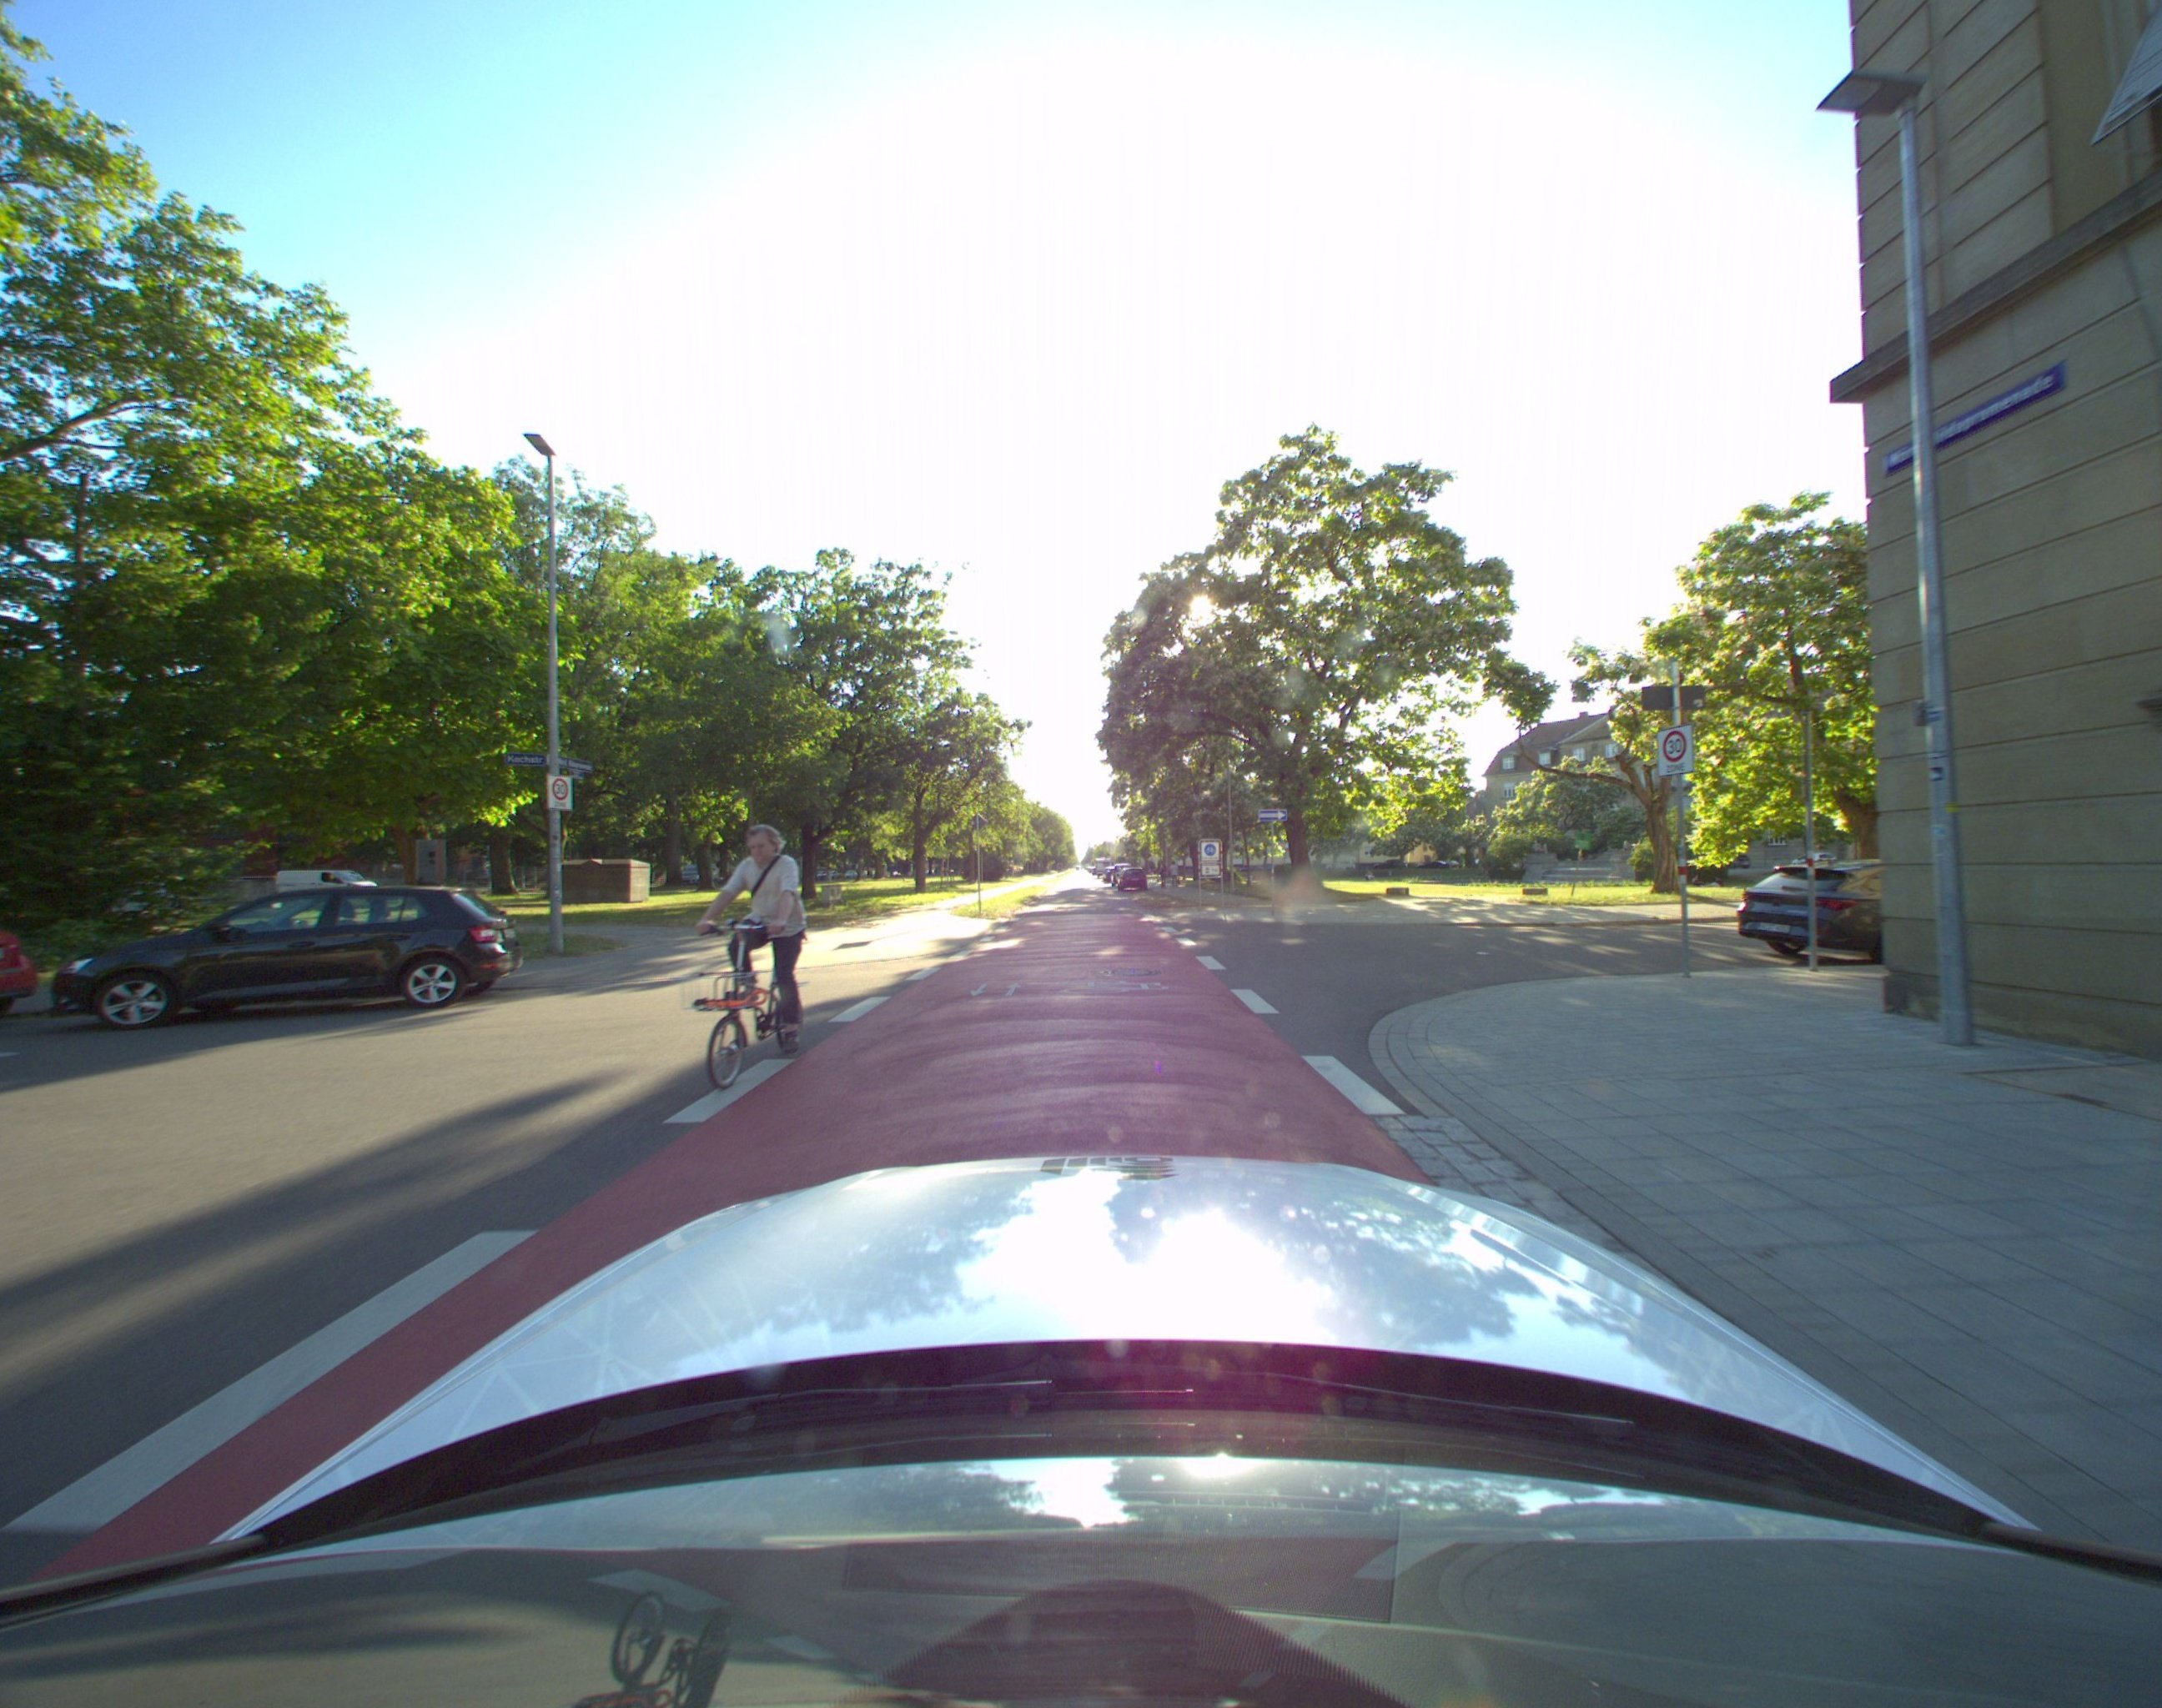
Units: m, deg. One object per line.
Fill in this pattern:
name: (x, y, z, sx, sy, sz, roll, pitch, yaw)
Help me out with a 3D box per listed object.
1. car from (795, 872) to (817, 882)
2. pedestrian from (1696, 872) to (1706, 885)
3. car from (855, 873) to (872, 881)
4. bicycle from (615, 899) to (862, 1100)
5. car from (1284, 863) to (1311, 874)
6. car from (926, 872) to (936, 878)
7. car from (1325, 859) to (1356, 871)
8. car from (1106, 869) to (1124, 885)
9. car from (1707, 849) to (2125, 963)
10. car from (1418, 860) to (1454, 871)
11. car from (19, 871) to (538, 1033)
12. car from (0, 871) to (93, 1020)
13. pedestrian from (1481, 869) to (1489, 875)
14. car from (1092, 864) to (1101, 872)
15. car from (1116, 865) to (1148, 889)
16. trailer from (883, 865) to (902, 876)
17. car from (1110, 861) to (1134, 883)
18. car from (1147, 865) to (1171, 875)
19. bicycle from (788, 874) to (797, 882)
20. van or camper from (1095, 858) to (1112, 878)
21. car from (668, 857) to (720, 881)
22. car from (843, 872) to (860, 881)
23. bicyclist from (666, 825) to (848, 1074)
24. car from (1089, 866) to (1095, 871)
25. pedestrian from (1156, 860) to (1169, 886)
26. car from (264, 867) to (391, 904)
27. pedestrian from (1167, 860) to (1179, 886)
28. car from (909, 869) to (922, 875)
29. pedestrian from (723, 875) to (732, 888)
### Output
car: (-42.198, 3.473, 124.959, 1.987, 1.508, 4.000, -1, -1, 1)
pedestrian: (42.687, 1.652, 56.064, 0.571, 0.881, 0.681, -1, -2, 37)
car: (-41.485, 4.441, 155.587, 1.987, 1.508, 4.115, -1, -1, 1)
bicycle: (-2.380, 0.942, 6.026, 0.734, 1.135, 2.108, -1, -1, 6)
car: (34.545, 2.345, 129.881, 3.949, 1.552, 1.620, -2, -2, 27)
car: (-41.522, 5.729, 225.183, 1.987, 1.508, 4.115, -1, -1, 1)
car: (42.193, 1.801, 132.342, 4.467, 1.746, 1.892, -2, -2, 35)
car: (3.439, 2.302, 82.705, 1.726, 1.551, 4.275, -1, -1, 1)
car: (12.088, 0.710, 11.974, 4.433, 1.419, 1.932, -1, -2, -6)
car: (51.093, 1.668, 117.193, 1.889, 1.453, 4.317, 0, -2, -38)
car: (-9.133, 1.039, 9.833, 4.006, 1.574, 1.875, 0, -3, -25)
car: (-13.397, 0.987, 8.130, 4.006, 1.574, 1.875, 0, -3, -25)
pedestrian: (49.792, 2.233, 100.275, 0.586, 0.794, 0.664, -1, -2, -11)
car: (3.100, 2.792, 161.544, 1.621, 1.669, 4.247, -1, -1, 0)
car: (3.297, 1.516, 53.375, 1.673, 1.486, 4.807, -1, -1, 0)
trailer: (-41.965, 3.678, 181.123, 2.451, 2.489, 7.049, -1, -1, 1)
car: (3.363, 1.519, 67.305, 1.673, 1.740, 4.512, -1, -1, 0)
car: (13.602, 2.784, 142.235, 4.176, 1.531, 2.002, -2, -2, 4)
bicycle: (-43.757, 3.640, 123.627, 0.655, 1.175, 2.331, -1, -2, -3)
van or camper: (3.326, 2.108, 120.348, 2.227, 2.904, 5.670, -1, -2, -1)
car: (-41.990, 1.688, 88.528, 2.713, 2.463, 6.314, -1, -1, -1)
car: (-41.510, 4.115, 147.358, 1.987, 1.508, 4.115, -1, -1, 1)
bicyclist: (-2.371, 0.662, 6.068, 0.932, 1.703, 0.907, -1, -1, 6)
car: (2.962, 4.027, 226.460, 1.621, 1.410, 4.247, -1, -1, 0)
pedestrian: (5.377, 1.259, 53.874, 0.750, 1.736, 0.731, 0, -1, 0)
car: (-45.065, 1.878, 48.824, 4.942, 2.114, 2.675, 0, -1, -3)
pedestrian: (6.099, 1.241, 53.887, 0.723, 1.736, 0.731, 0, -1, 0)
car: (-43.014, 4.786, 211.681, 2.499, 1.508, 4.912, -1, -1, 1)
pedestrian: (-27.916, 2.191, 64.319, 0.547, 0.987, 0.609, -1, -2, -7)
